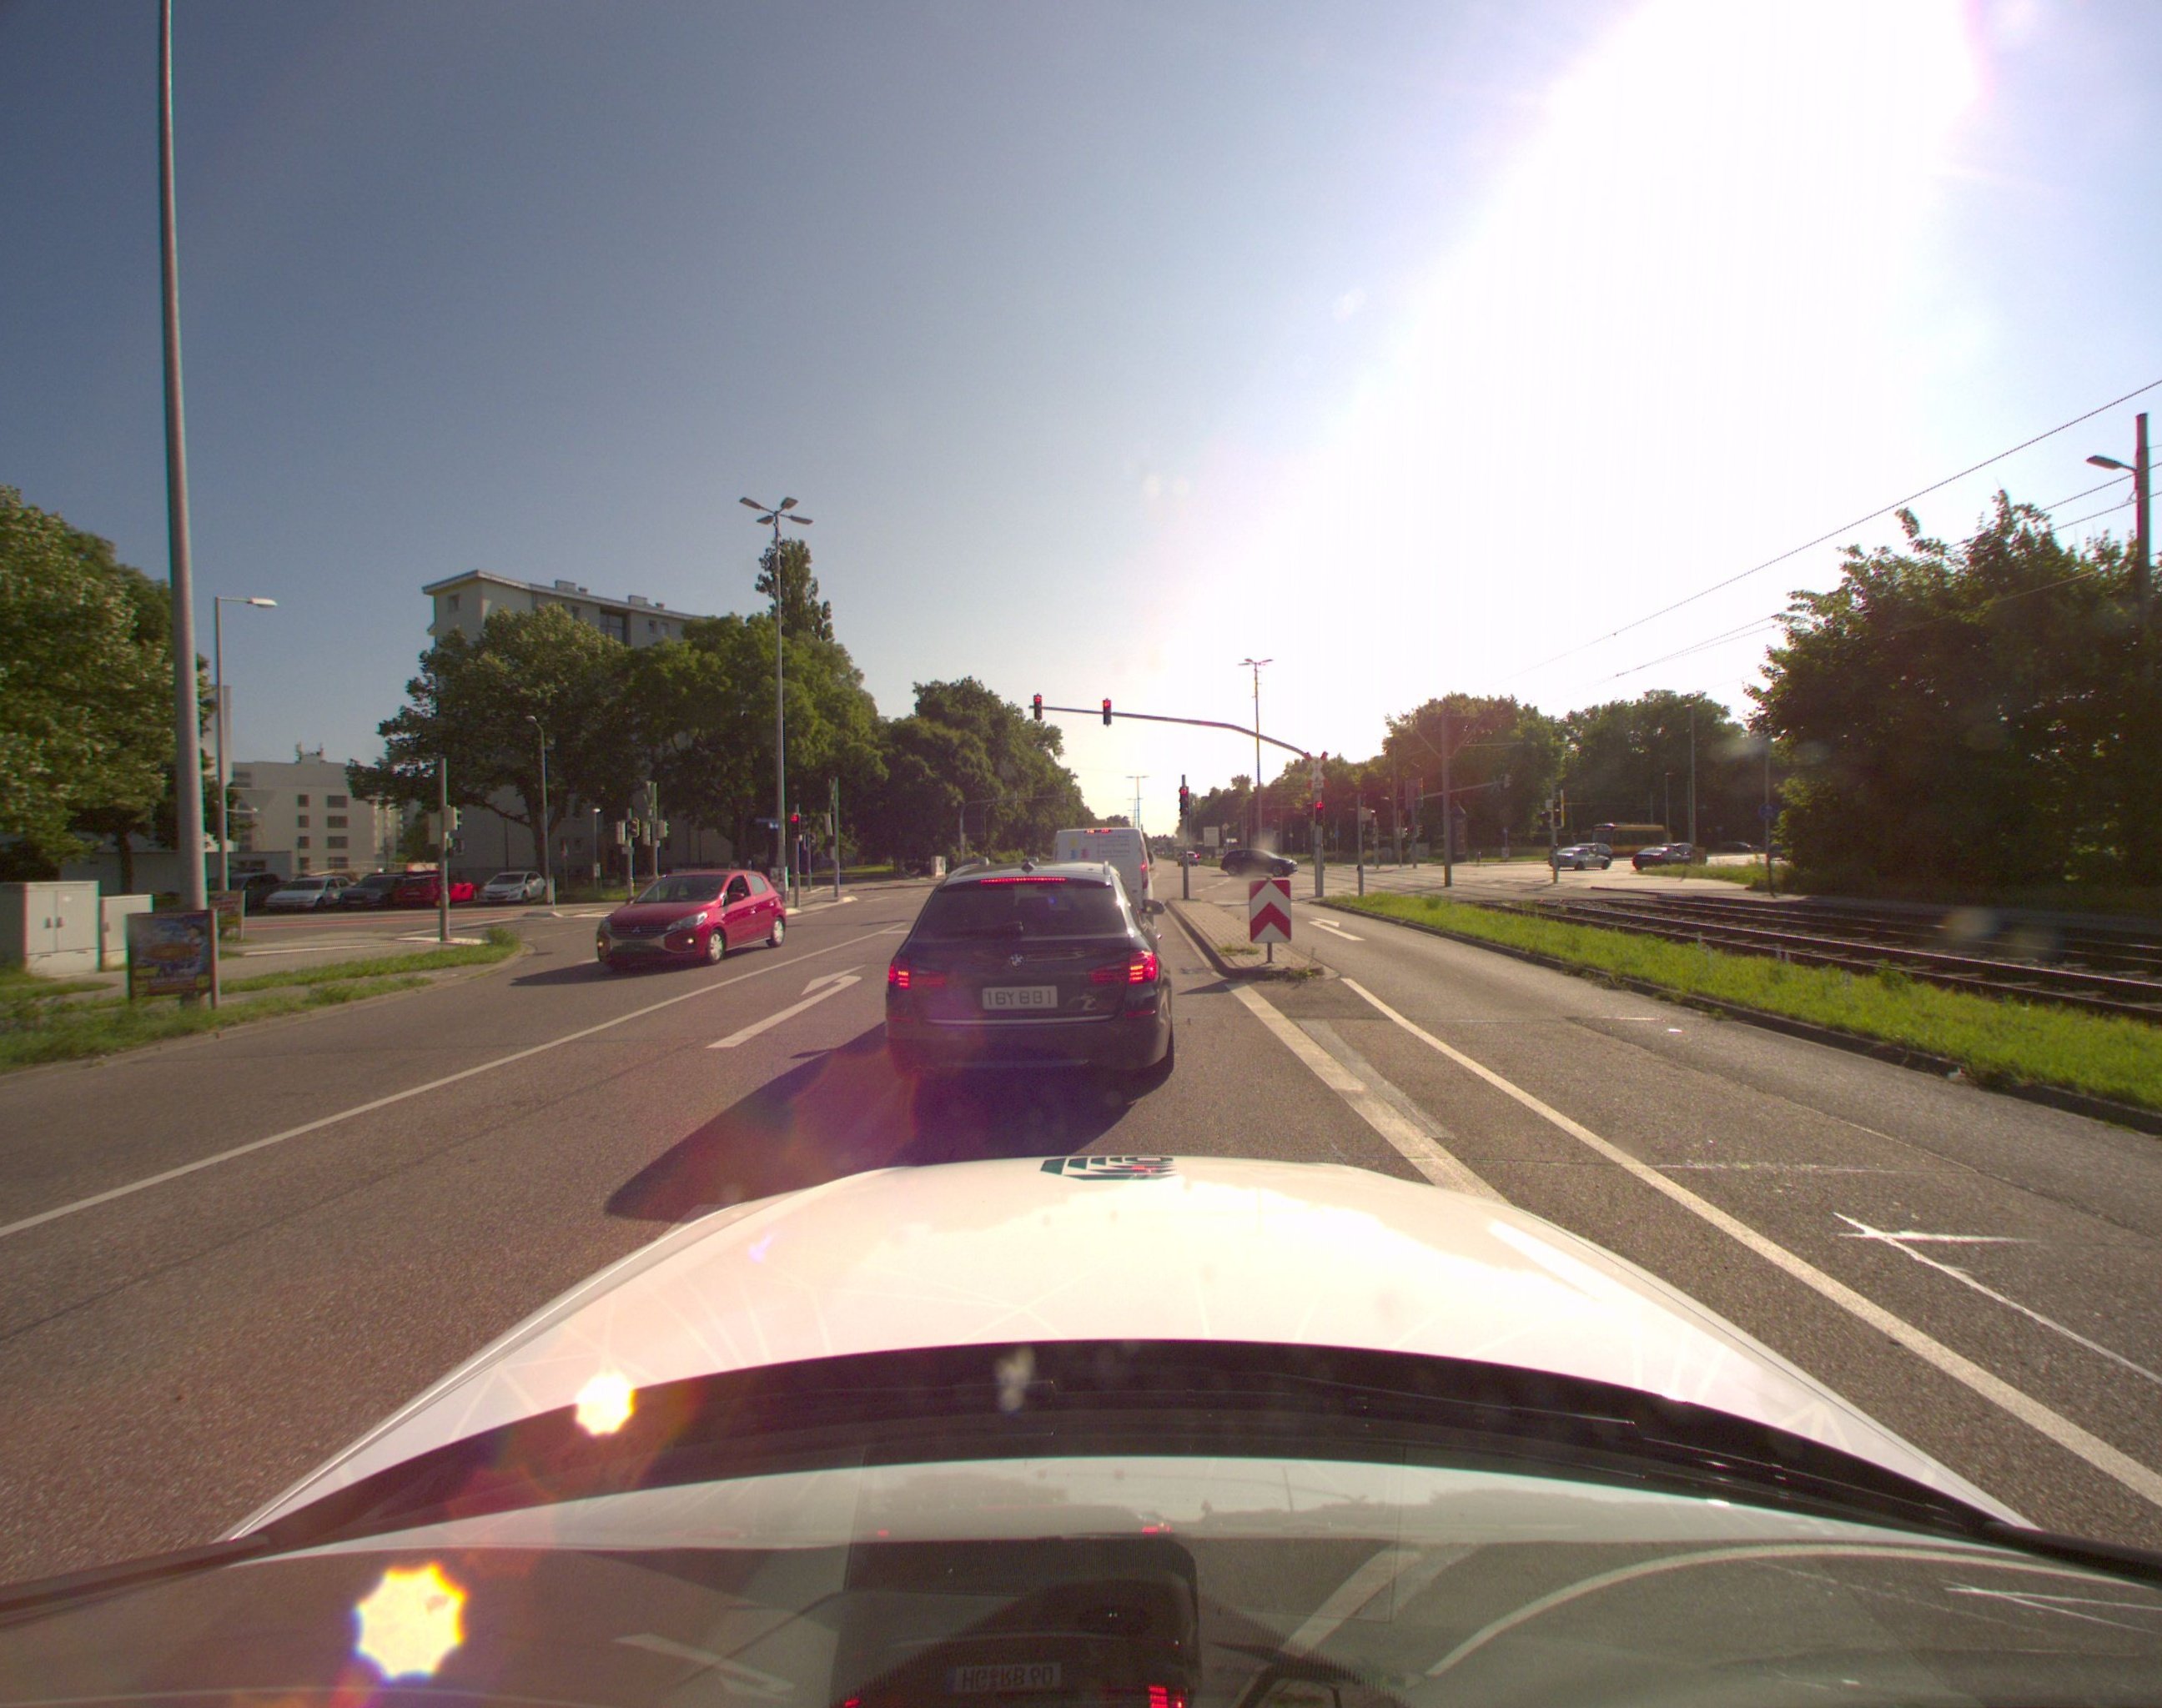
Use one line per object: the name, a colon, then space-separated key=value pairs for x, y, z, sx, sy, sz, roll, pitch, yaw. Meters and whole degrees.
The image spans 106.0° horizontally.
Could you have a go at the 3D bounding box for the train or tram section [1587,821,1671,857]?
train or tram section: x=57.911 y=-1.564 z=85.848 sx=11.898 sy=3.579 sz=3.022 roll=-1 pitch=0 yaw=-34

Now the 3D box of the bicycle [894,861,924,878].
bicycle: x=-11.637 y=1.049 z=55.083 sx=1.902 sy=1.119 sz=0.632 roll=-1 pitch=0 yaw=1

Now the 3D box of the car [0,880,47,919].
car: x=-46.081 y=2.015 z=33.668 sx=1.785 sy=1.476 sz=4.686 roll=-1 pitch=3 yaw=-19

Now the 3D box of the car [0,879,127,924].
car: x=-44.368 y=2.008 z=35.221 sx=1.785 sy=1.477 sz=4.785 roll=-1 pitch=3 yaw=-19

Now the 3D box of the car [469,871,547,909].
car: x=-27.901 y=1.717 z=39.806 sx=1.783 sy=1.439 sz=3.980 roll=-1 pitch=3 yaw=-15

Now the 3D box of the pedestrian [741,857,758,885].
pedestrian: x=-20.934 y=1.049 z=51.429 sx=0.619 sy=1.713 sz=0.707 roll=-1 pitch=1 yaw=14

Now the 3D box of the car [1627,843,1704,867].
car: x=36.076 y=0.066 z=50.275 sx=4.415 sy=1.354 sz=1.984 roll=-1 pitch=0 yaw=-25

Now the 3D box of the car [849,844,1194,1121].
car: x=-0.263 y=0.713 z=6.566 sx=1.896 sy=1.506 sz=4.067 roll=-1 pitch=0 yaw=2

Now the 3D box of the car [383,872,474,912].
car: x=-30.890 y=1.768 z=38.687 sx=1.782 sy=1.415 sz=3.982 roll=-1 pitch=4 yaw=-14

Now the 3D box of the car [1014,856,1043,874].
car: x=-4.331 y=0.902 z=67.827 sx=1.771 sy=1.414 sz=4.249 roll=-1 pitch=0 yaw=4

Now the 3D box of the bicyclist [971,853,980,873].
bicyclist: x=-8.386 y=0.729 z=64.675 sx=0.604 sy=1.560 sz=0.603 roll=-1 pitch=0 yaw=4

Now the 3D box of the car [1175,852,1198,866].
car: x=11.676 y=0.573 z=90.374 sx=1.789 sy=1.486 sz=3.895 roll=-1 pitch=0 yaw=-3

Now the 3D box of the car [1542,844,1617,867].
car: x=31.807 y=0.083 z=51.969 sx=4.416 sy=1.354 sz=1.984 roll=-1 pitch=0 yaw=-25

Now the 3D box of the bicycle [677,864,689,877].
bicycle: x=-32.764 y=1.377 z=67.045 sx=0.615 sy=1.066 sz=1.896 roll=0 pitch=-2 yaw=-34

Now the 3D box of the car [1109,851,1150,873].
car: x=3.202 y=0.527 z=54.659 sx=1.606 sy=1.383 sz=3.508 roll=-1 pitch=0 yaw=-18

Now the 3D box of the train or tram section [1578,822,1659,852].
train or tram section: x=69.661 y=-2.063 z=106.052 sx=3.031 sy=3.579 sz=12.241 roll=-1 pitch=0 yaw=3

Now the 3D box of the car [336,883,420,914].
car: x=-32.776 y=2.049 z=38.088 sx=1.463 sy=1.193 sz=3.767 roll=-1 pitch=0 yaw=-15

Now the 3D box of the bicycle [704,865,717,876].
bicycle: x=-31.030 y=1.362 z=68.231 sx=0.673 sy=0.919 sz=2.382 roll=-1 pitch=0 yaw=-33

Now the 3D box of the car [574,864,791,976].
car: x=-6.369 y=0.973 z=13.515 sx=1.688 sy=1.498 sz=3.677 roll=-2 pitch=0 yaw=1

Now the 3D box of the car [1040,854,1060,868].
car: x=-3.402 y=0.770 z=90.911 sx=1.695 sy=1.465 sz=4.374 roll=-3 pitch=0 yaw=4

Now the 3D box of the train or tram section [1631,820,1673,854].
train or tram section: x=66.103 y=-1.913 z=94.572 sx=3.015 sy=3.579 sz=12.308 roll=-1 pitch=0 yaw=31

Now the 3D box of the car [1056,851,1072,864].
car: x=-2.149 y=0.467 z=104.547 sx=1.738 sy=1.562 sz=4.003 roll=-3 pitch=0 yaw=3

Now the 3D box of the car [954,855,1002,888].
car: x=-5.389 y=0.866 z=42.951 sx=1.625 sy=1.560 sz=3.682 roll=-3 pitch=0 yaw=6

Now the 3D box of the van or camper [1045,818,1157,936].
van or camper: x=0.503 y=0.411 z=17.054 sx=1.985 sy=2.096 sz=4.602 roll=-1 pitch=0 yaw=3

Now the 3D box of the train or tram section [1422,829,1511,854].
train or tram section: x=60.002 y=-1.840 z=126.947 sx=12.072 sy=3.579 sz=3.073 roll=-1 pitch=0 yaw=38

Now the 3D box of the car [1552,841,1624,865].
car: x=35.954 y=-0.070 z=57.747 sx=4.871 sy=1.562 sz=2.027 roll=-1 pitch=0 yaw=-26

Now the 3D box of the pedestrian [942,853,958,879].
pedestrian: x=-8.836 y=0.816 z=55.080 sx=0.811 sy=1.752 sz=0.933 roll=-1 pitch=0 yaw=7

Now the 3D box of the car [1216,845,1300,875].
car: x=10.481 y=0.335 z=48.323 sx=4.563 sy=1.722 sz=1.660 roll=0 pitch=1 yaw=34

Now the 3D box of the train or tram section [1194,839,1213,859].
train or tram section: x=23.124 y=-0.866 z=154.358 sx=2.782 sy=3.618 sz=12.976 roll=0 pitch=0 yaw=6

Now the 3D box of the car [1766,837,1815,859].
car: x=56.767 y=-0.463 z=65.157 sx=4.654 sy=1.665 sz=1.978 roll=-1 pitch=0 yaw=-37

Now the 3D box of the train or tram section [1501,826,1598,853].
train or tram section: x=67.338 y=-1.976 z=117.559 sx=3.064 sy=3.579 sz=12.108 roll=-1 pitch=0 yaw=-31

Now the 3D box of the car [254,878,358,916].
car: x=-35.416 y=1.929 z=37.355 sx=1.783 sy=1.521 sz=3.977 roll=-1 pitch=0 yaw=-16

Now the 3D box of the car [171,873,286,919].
car: x=-38.062 y=1.824 z=36.521 sx=1.783 sy=1.811 sz=3.977 roll=-1 pitch=0 yaw=-16

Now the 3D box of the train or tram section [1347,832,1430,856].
train or tram section: x=50.393 y=-1.667 z=133.841 sx=12.279 sy=3.579 sz=3.073 roll=-1 pitch=0 yaw=33

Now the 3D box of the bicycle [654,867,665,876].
bicycle: x=-34.310 y=1.430 z=66.237 sx=0.587 sy=0.708 sz=2.215 roll=-1 pitch=0 yaw=-33
